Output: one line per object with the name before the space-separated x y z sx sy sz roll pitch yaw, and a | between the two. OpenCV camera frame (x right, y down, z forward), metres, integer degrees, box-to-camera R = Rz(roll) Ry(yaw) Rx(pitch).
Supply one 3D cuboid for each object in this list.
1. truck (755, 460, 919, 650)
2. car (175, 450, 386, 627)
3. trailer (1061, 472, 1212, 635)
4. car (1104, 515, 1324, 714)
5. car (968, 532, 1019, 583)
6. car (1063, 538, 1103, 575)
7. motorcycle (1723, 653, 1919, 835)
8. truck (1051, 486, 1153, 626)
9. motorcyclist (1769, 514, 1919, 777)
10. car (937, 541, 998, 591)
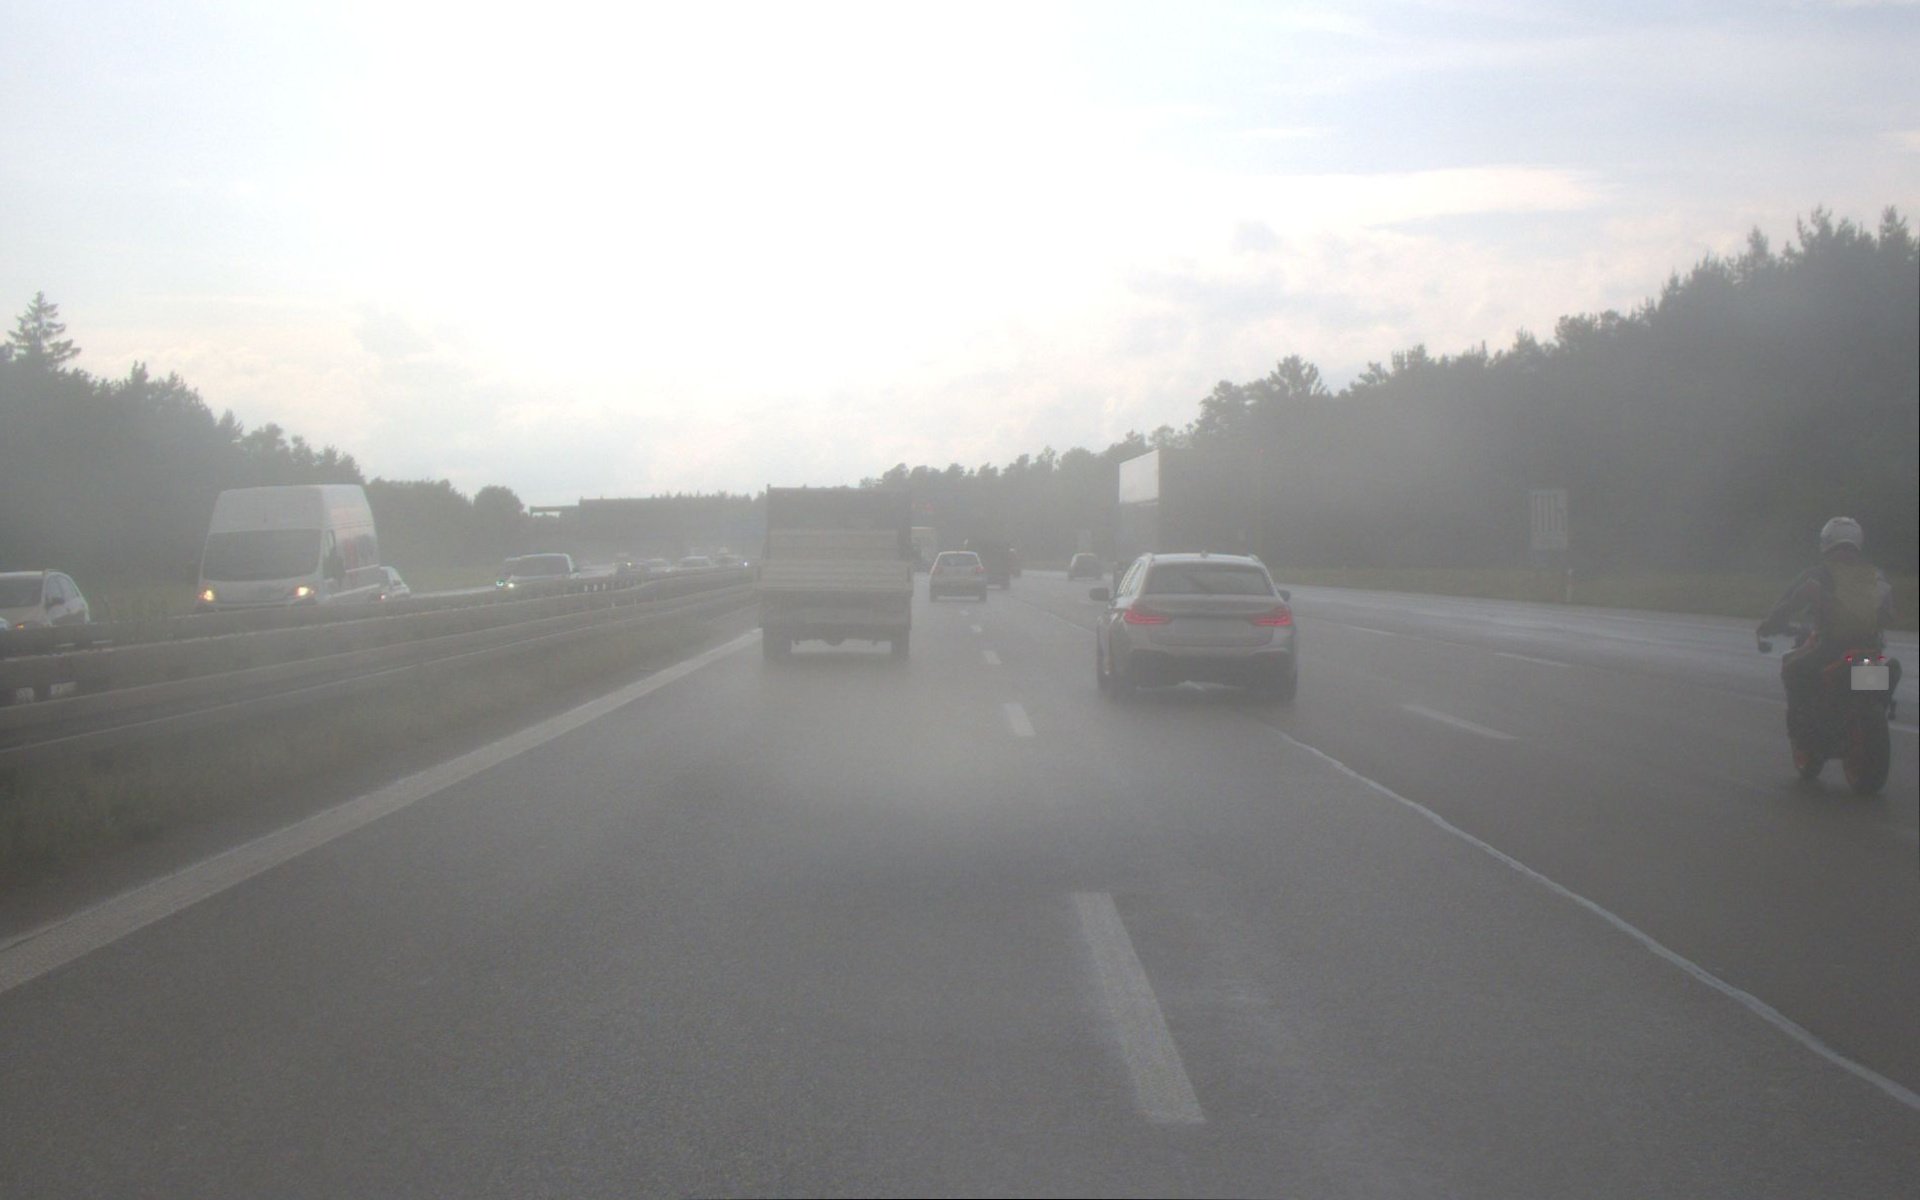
truck | -1.687 -0.631 47.676 2.137 2.480 5.313 0 1 -2
car | -10.829 -0.988 55.314 2.132 2.653 6.674 -1 1 -1
trailer | 4.515 -1.225 90.739 2.323 3.988 13.414 0 1 -4
car | 2.569 0.092 35.559 2.078 1.878 5.011 1 1 3
car | 1.340 -1.727 138.046 1.908 2.007 4.000 0 1 -1
car | 6.797 -2.430 190.684 1.993 2.007 4.000 1 1 -1
motorcycle | 5.557 0.881 21.701 1.000 1.028 2.174 0 1 0
truck | 3.992 -1.249 97.689 2.293 3.855 5.393 0 1 -4
motorcyclist | 5.624 0.273 21.522 0.891 1.609 0.959 0 1 0
car | 0.231 -1.046 104.728 1.831 1.461 4.000 0 1 0
